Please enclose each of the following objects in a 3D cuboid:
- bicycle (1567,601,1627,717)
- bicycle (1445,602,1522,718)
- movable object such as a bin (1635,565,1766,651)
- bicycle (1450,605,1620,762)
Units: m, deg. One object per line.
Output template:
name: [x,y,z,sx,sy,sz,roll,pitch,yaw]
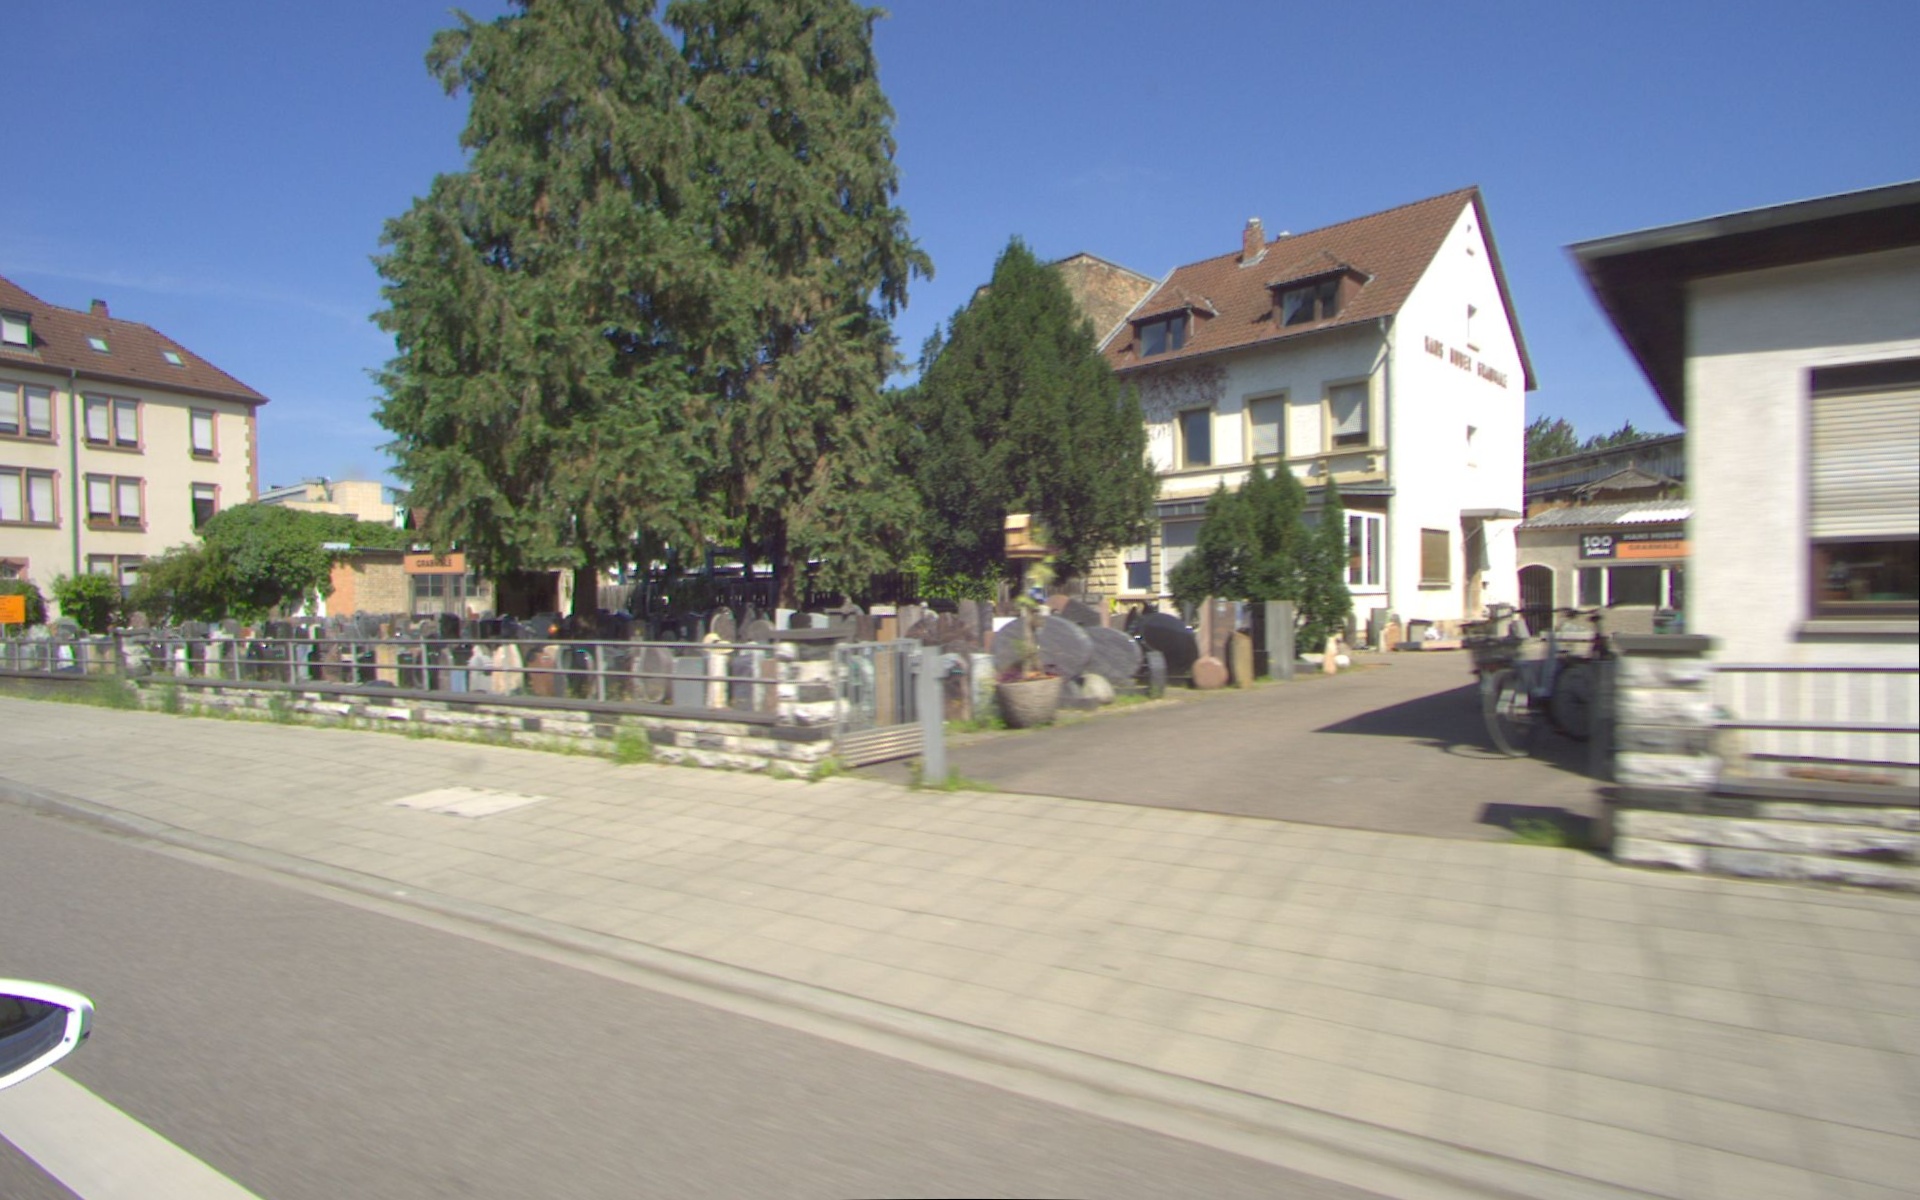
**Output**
bicycle: [6.888,0.587,10.824,0.505,1.126,1.680,0,2,33]
bicycle: [5.751,0.606,10.956,0.505,1.126,1.786,1,2,35]
movable object such as a bin: [18.930,0.194,25.662,2.247,2.106,1.476,-1,1,4]
bicycle: [4.703,0.629,8.151,1.668,1.126,0.511,-2,2,-34]
